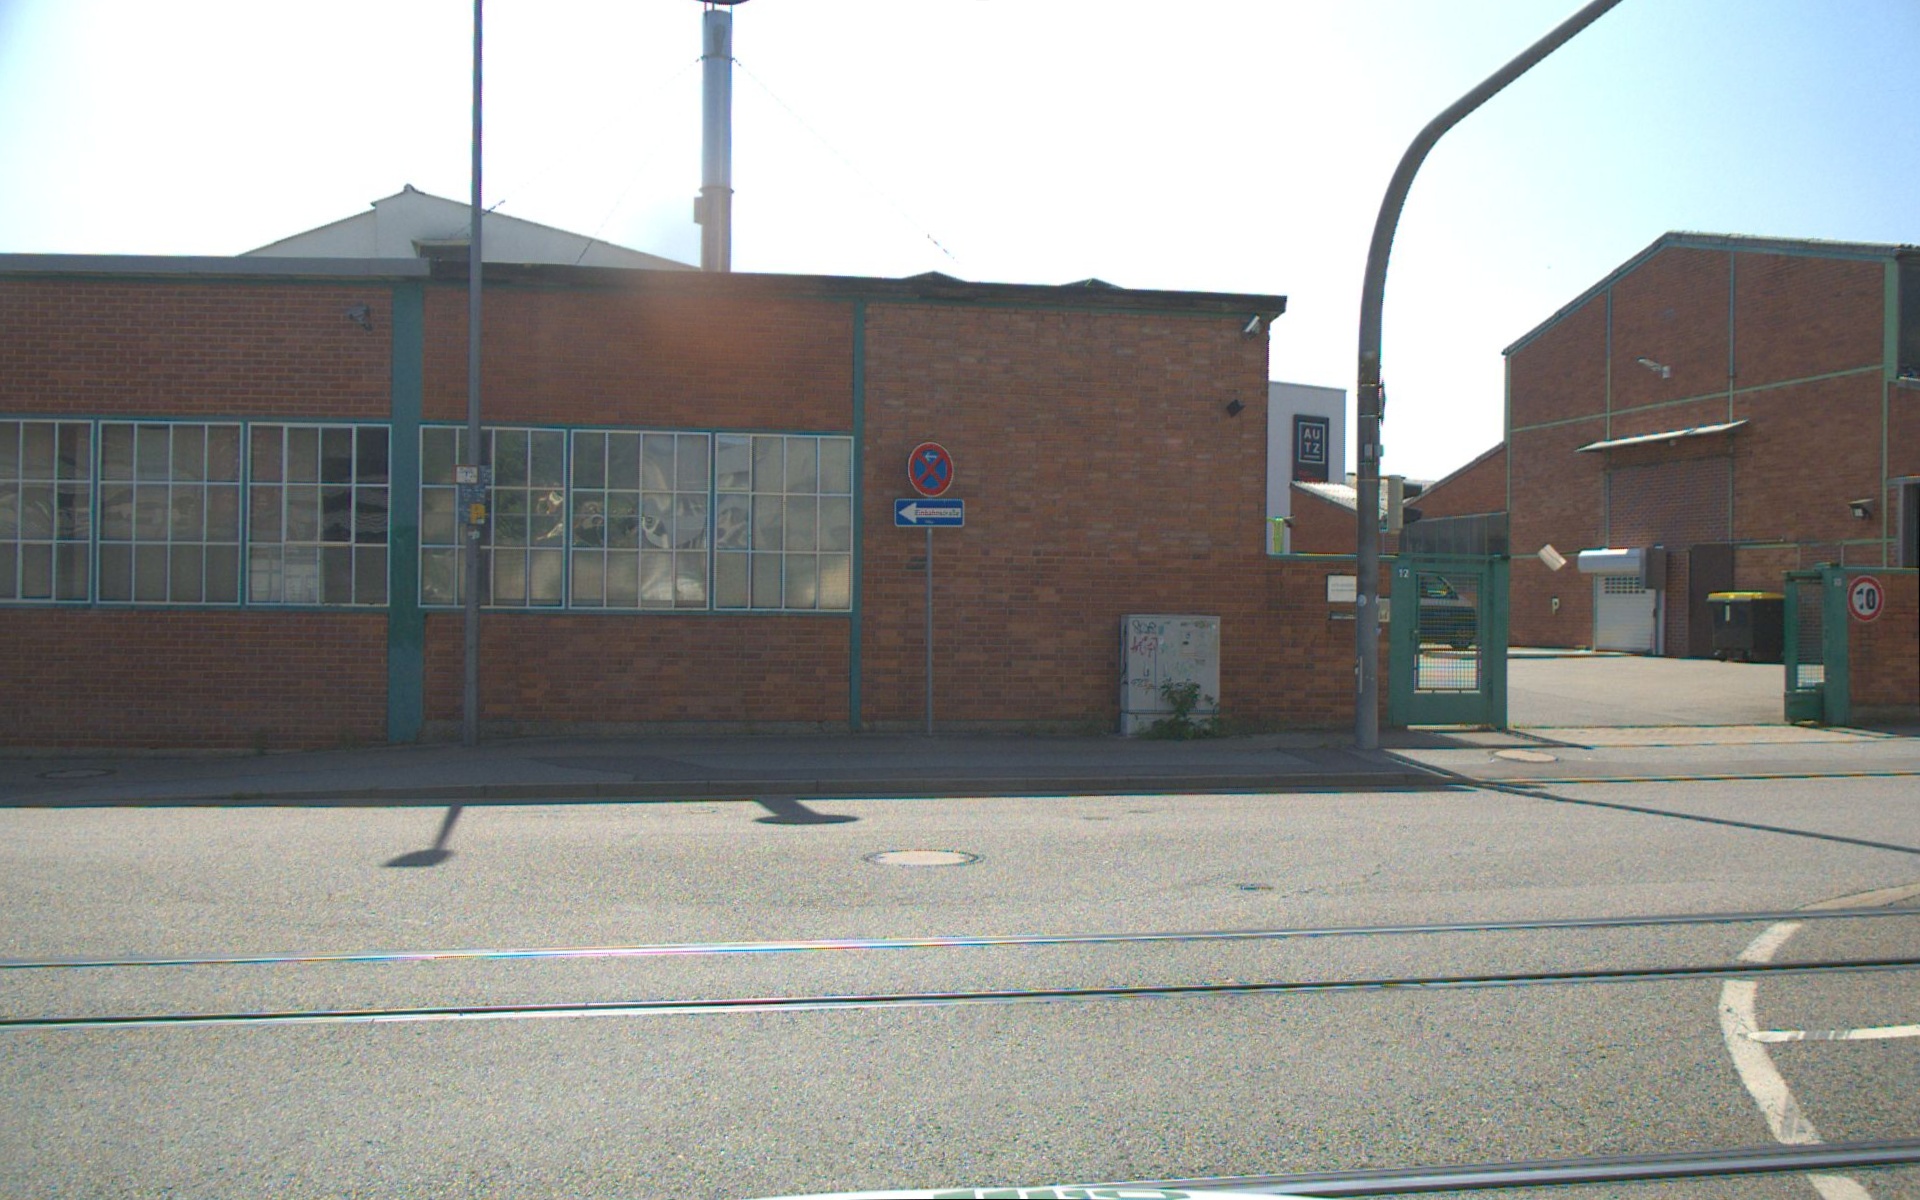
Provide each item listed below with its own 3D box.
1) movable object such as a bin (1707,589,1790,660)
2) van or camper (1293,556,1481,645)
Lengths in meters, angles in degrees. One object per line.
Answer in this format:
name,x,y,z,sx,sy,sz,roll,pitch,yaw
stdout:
movable object such as a bin,15.350,0.463,32.223,0.957,1.337,1.148,-1,0,-14
van or camper,10.359,0.038,40.035,4.366,1.933,1.977,3,-1,-33
